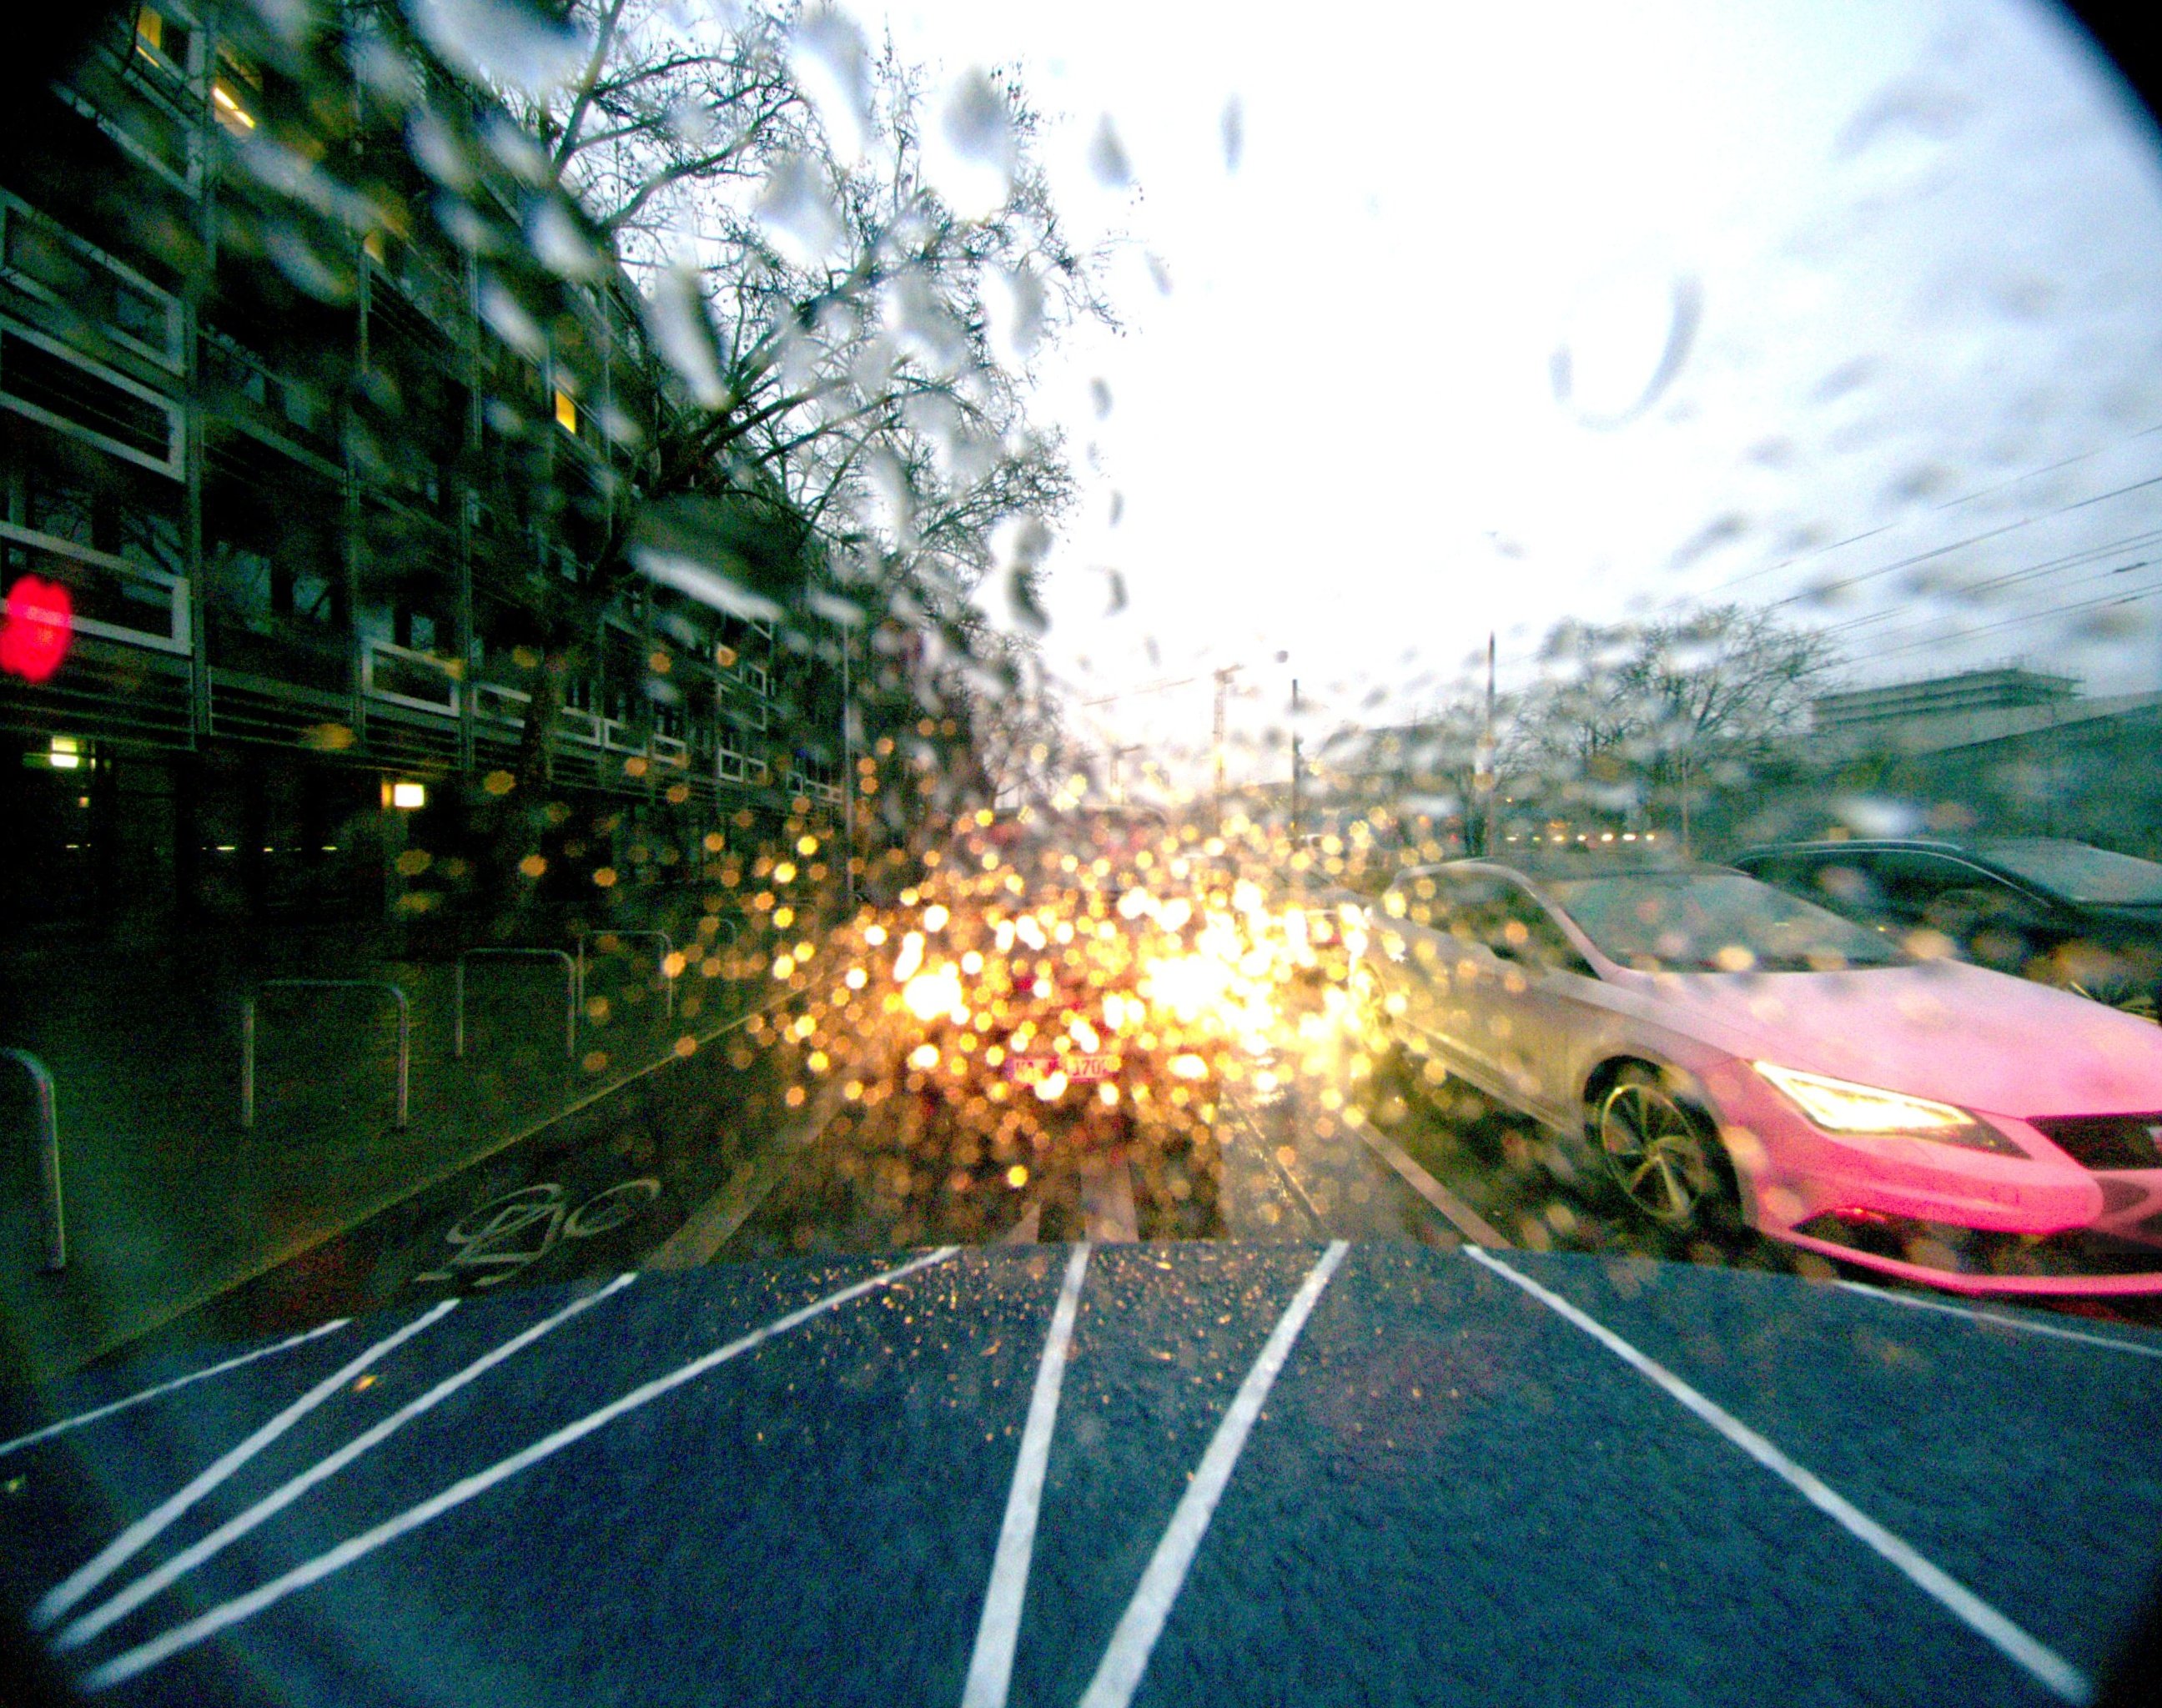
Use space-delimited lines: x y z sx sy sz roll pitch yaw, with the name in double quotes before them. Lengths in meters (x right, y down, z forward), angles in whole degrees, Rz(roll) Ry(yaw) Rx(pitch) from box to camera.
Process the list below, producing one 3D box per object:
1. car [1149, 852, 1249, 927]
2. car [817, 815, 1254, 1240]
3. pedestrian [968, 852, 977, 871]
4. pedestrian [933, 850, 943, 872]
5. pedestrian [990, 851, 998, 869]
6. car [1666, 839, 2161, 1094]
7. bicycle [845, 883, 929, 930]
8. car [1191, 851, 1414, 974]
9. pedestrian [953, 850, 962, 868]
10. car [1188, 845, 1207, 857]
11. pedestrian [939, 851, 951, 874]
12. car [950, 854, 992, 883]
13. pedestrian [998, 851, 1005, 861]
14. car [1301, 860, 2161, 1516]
"car" 2.837 0.796 19.127 1.907 1.565 3.999 -2 1 1
"car" -0.200 0.756 5.390 1.878 1.830 3.999 -2 1 0
"pedestrian" -10.134 0.699 71.141 0.766 1.740 0.928 0 1 -4
"pedestrian" -12.808 0.630 68.280 0.699 1.968 0.928 0 1 1
"pedestrian" -8.648 0.589 75.816 0.766 1.740 0.928 0 1 -4
"car" 7.350 0.651 5.983 1.853 1.499 4.662 -1 1 -1
"bicycle" -4.470 1.207 17.633 1.704 0.987 0.879 1 1 0
"car" 3.037 0.700 11.533 1.999 1.478 4.505 -1 0 -1
"pedestrian" -12.173 0.474 74.897 0.766 1.740 0.928 0 1 -4
"car" 18.918 -0.558 123.748 2.095 1.884 3.997 -1 1 -7
"pedestrian" -10.533 0.662 58.807 0.766 1.740 0.928 0 1 -4
"car" -6.226 0.799 43.326 1.713 1.455 3.999 -2 1 1
"pedestrian" -10.202 0.258 97.352 0.782 1.330 0.751 -2 1 1
"car" 2.978 0.839 4.167 1.949 1.478 4.504 -2 0 -4
